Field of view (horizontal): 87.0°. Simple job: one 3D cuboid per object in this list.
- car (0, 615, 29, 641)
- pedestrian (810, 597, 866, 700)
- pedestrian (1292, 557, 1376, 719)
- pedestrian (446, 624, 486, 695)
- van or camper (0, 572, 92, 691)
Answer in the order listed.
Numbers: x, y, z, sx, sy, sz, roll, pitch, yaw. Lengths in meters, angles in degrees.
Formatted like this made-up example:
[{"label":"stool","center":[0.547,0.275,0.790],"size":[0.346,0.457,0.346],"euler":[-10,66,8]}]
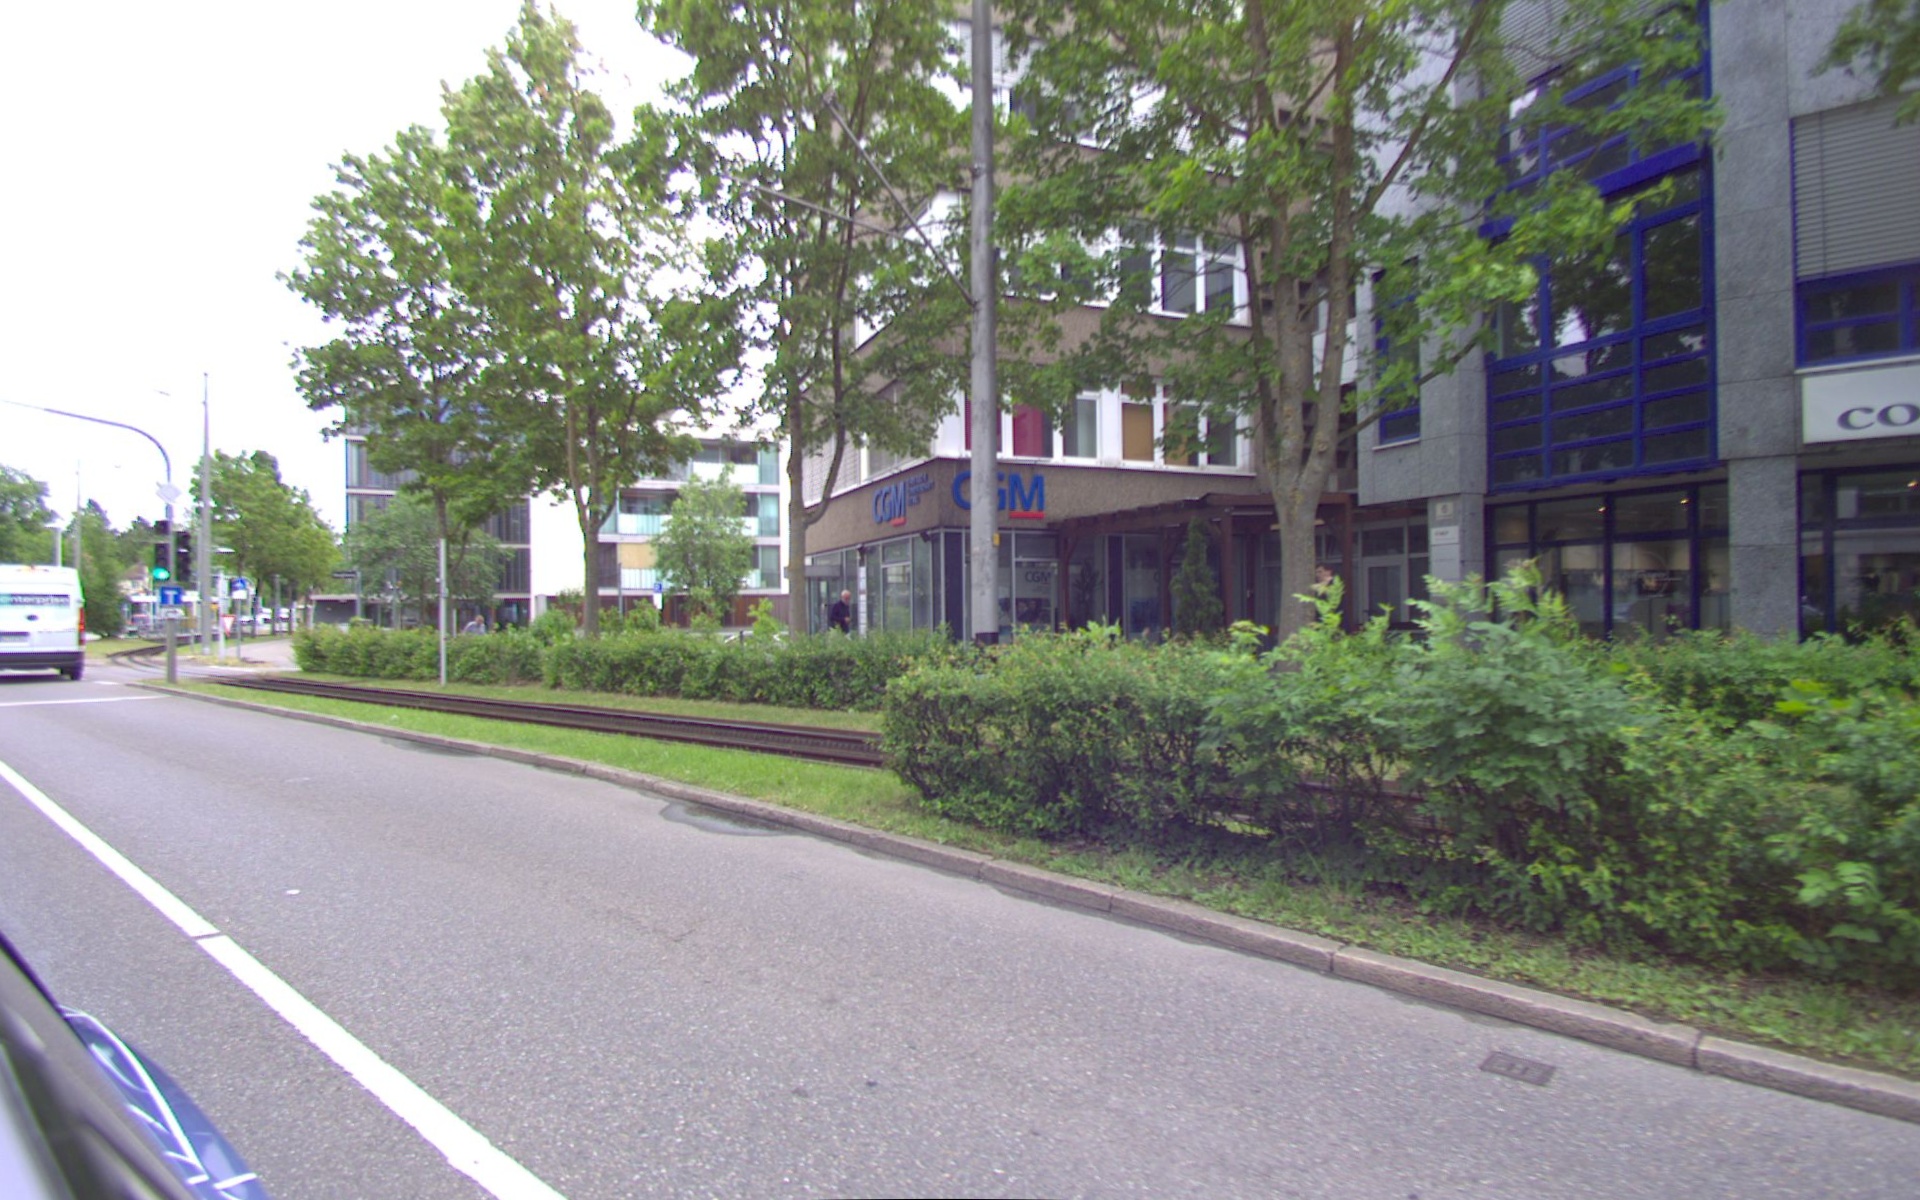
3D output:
[{"label":"car","center":[-78.224,2.266,82.804],"size":[1.965,2.029,4.013],"euler":[-1,0,-26]},{"label":"pedestrian","center":[-2.339,0.907,19.435],"size":[0.731,1.908,0.767],"euler":[-1,0,39]},{"label":"pedestrian","center":[4.659,0.453,12.605],"size":[0.731,1.938,0.805],"euler":[-1,0,40]},{"label":"pedestrian","center":[-13.090,1.555,26.833],"size":[0.730,1.819,0.672],"euler":[-1,0,36]},{"label":"van or camper","center":[-24.102,0.740,25.913],"size":[6.150,2.754,2.085],"euler":[-1,0,42]}]
